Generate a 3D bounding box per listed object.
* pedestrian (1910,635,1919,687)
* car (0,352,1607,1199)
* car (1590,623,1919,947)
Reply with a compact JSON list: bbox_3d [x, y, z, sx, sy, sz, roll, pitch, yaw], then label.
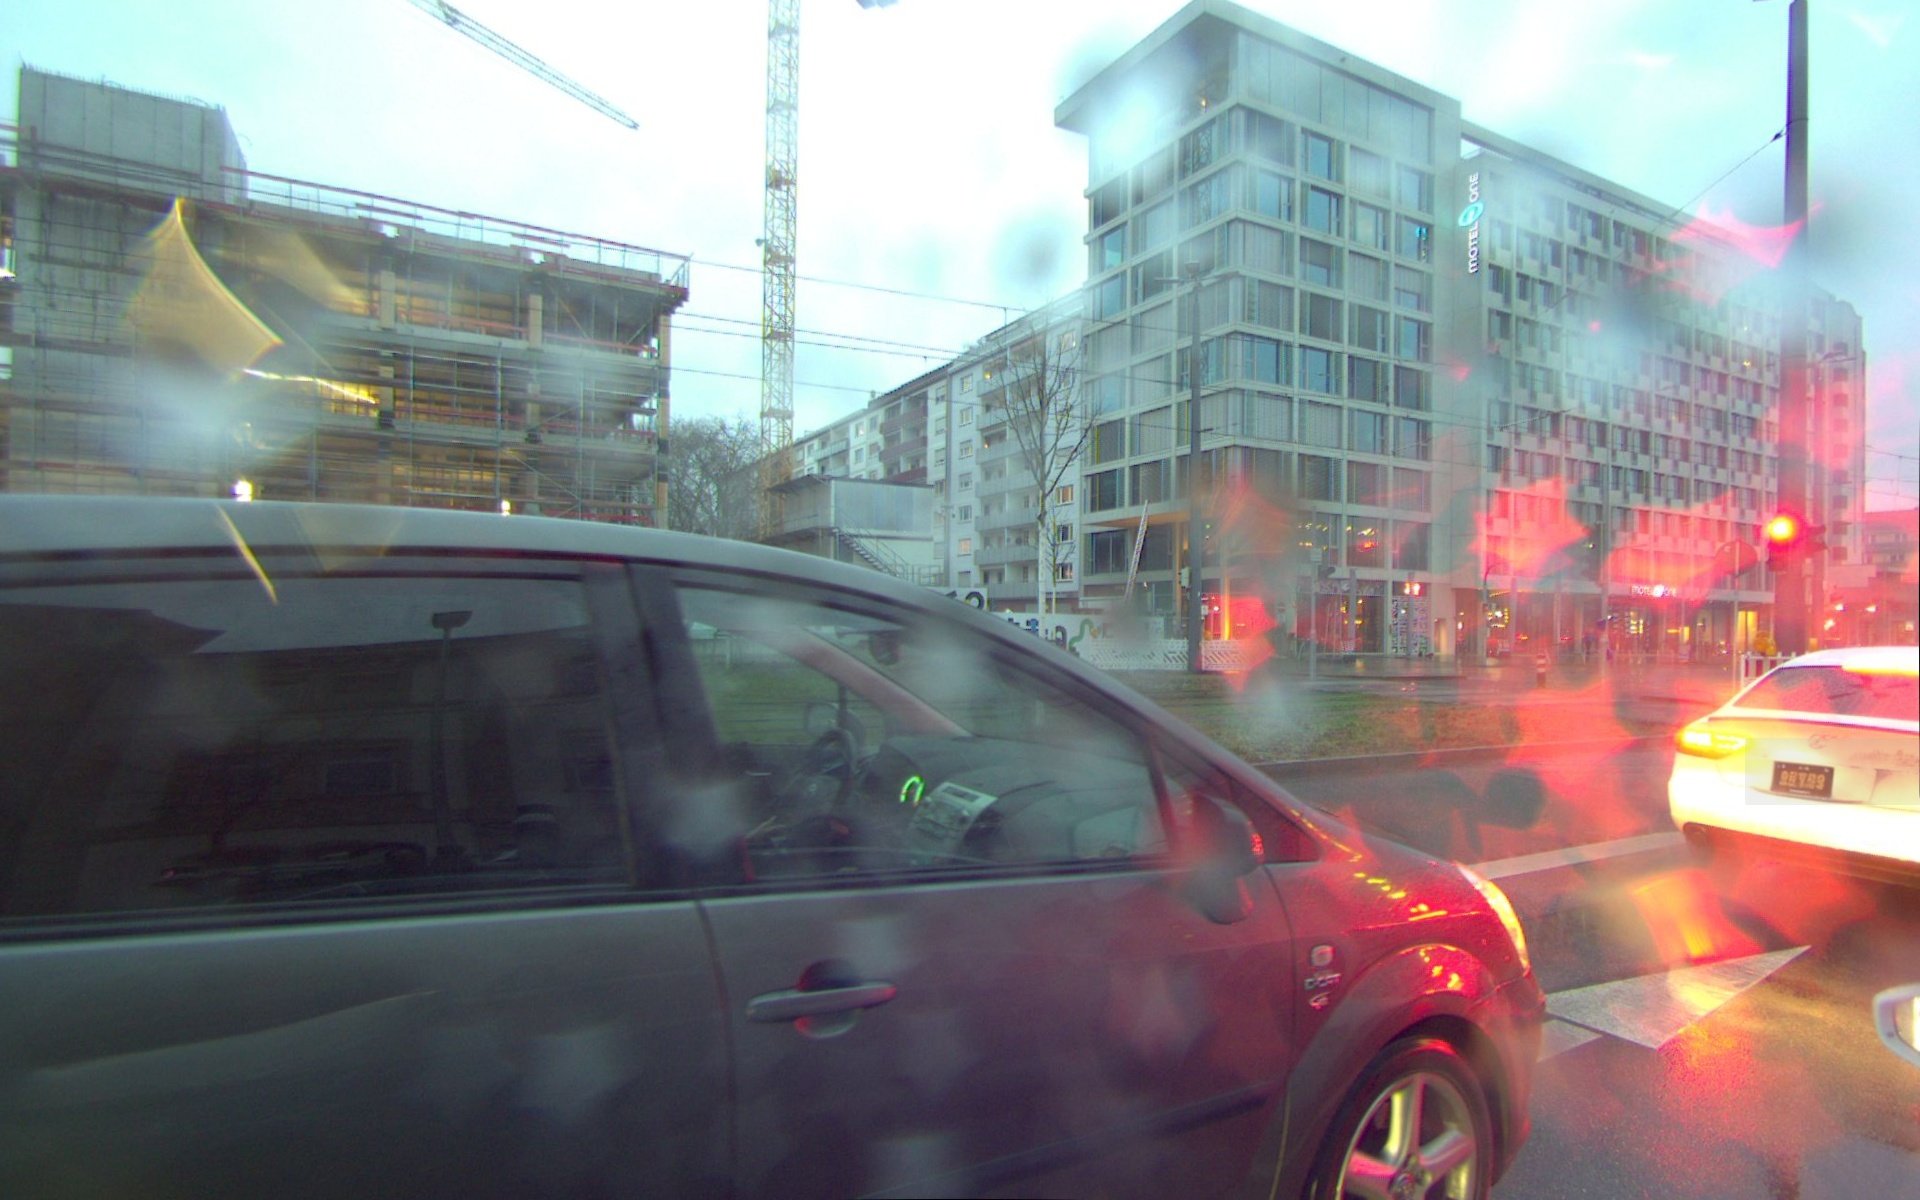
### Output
[{"bbox_3d":[32.796,2.084,34.051,0.808,1.734,0.782,2,0,-45],"label":"pedestrian"},{"bbox_3d":[-0.655,0.630,2.079,4.089,1.668,1.801,1,0,-32],"label":"car"},{"bbox_3d":[6.060,0.922,6.231,4.320,1.475,1.983,1,0,-32],"label":"car"}]
